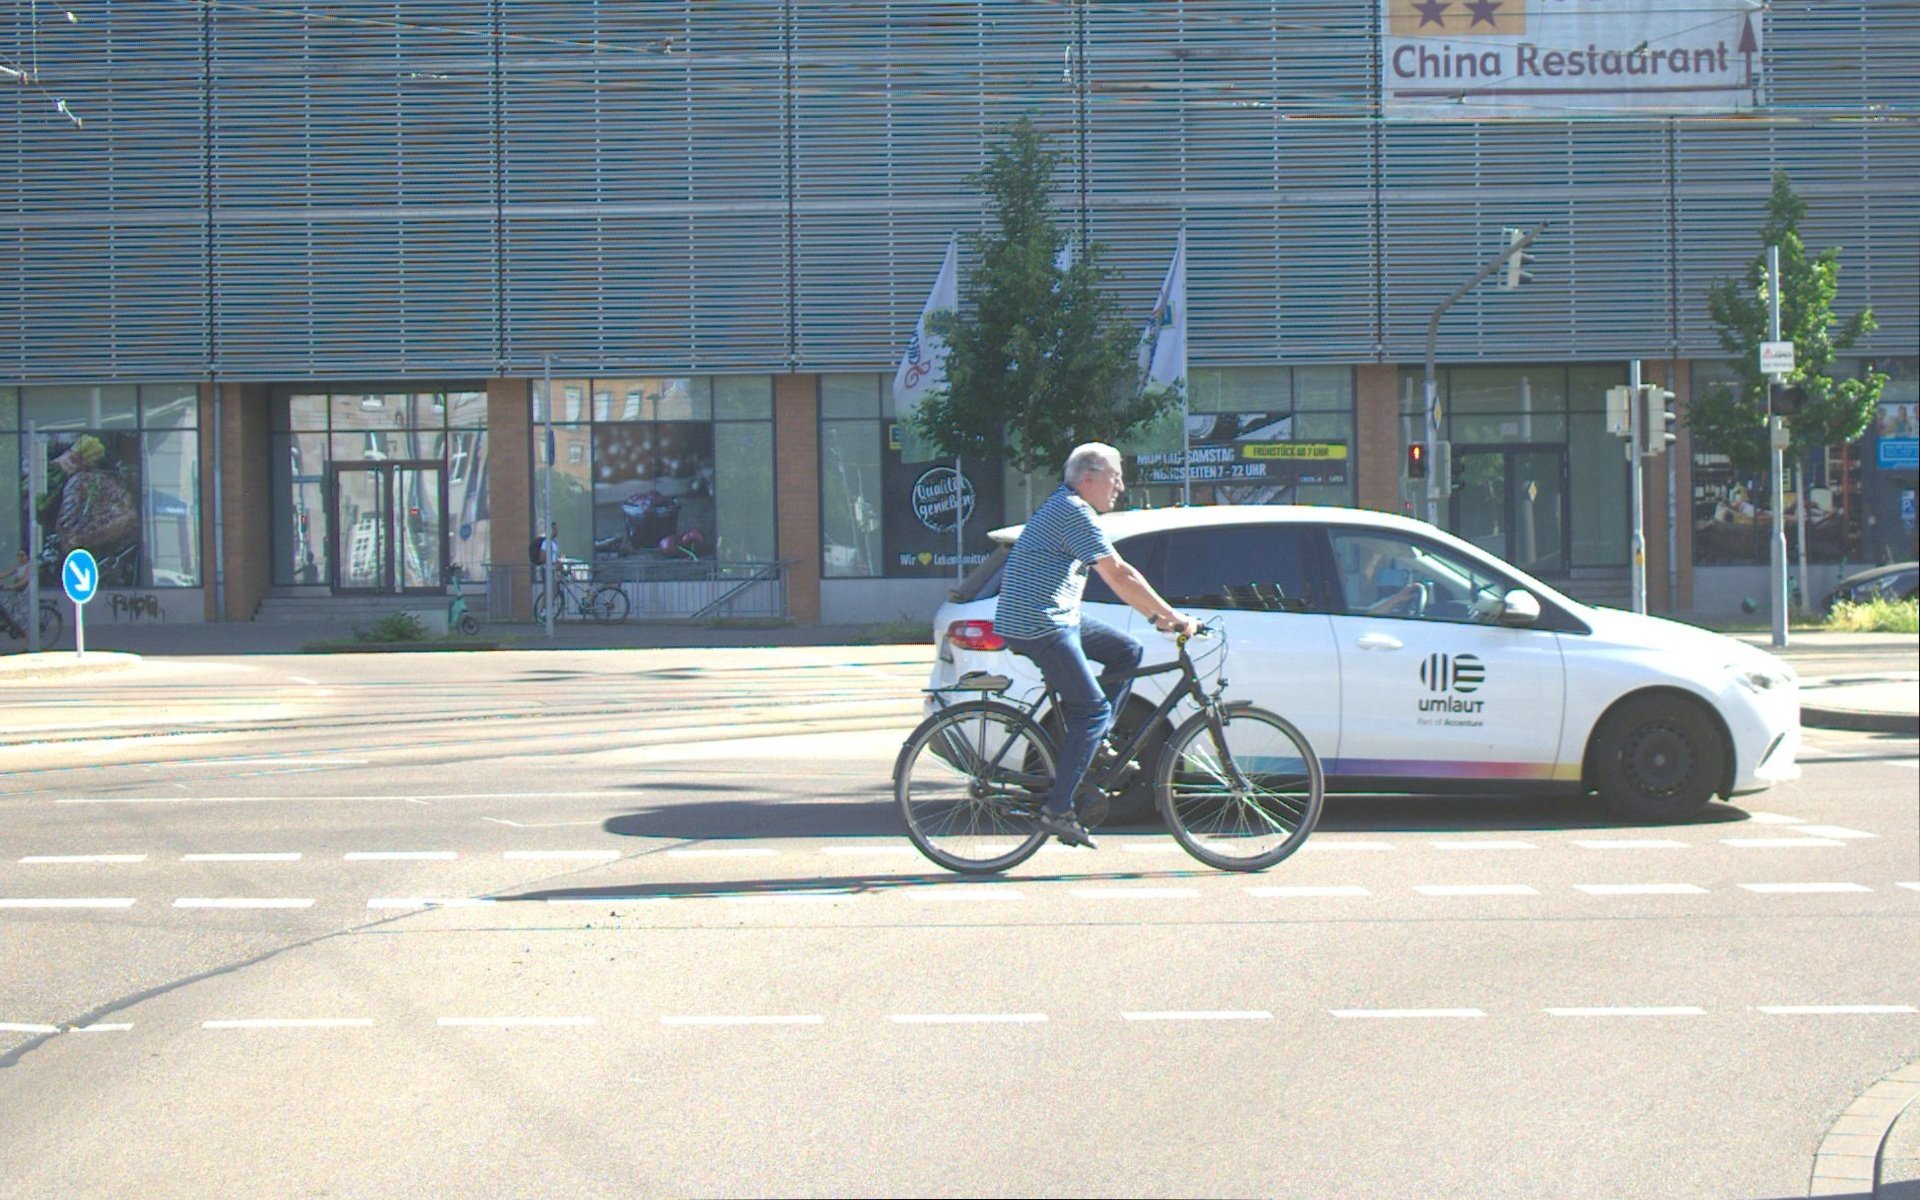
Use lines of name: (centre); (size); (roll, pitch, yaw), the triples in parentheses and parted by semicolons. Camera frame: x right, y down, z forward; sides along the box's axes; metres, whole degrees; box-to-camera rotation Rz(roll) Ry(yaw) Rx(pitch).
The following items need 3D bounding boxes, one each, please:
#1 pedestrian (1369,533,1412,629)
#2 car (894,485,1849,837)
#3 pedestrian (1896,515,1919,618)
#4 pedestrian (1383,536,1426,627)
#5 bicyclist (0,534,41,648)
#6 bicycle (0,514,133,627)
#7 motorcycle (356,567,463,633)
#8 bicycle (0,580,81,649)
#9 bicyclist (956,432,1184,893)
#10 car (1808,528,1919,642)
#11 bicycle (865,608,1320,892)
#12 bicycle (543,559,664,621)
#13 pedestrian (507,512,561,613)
pedestrian: (6.872, -0.307, 54.847); (0.589, 1.529, 0.658); (0, 1, -1)
car: (1.976, 0.253, 17.327); (4.488, 1.629, 1.840); (-1, 2, -5)
pedestrian: (16.410, -0.567, 58.174); (0.853, 1.732, 0.754); (-1, 1, -7)
pedestrian: (7.201, -0.306, 55.729); (0.589, 1.457, 0.658); (0, 1, -1)
bicyclist: (-15.267, -0.144, 54.870); (0.843, 1.797, 0.816); (-1, 1, -42)
bicycle: (-17.027, -0.545, 61.814); (3.987, 2.007, 1.330); (0, 1, 0)
motorcycle: (-8.991, 0.005, 56.154); (1.652, 1.055, 0.497); (0, 1, 9)
bicycle: (-15.299, 0.231, 54.820); (2.238, 1.067, 1.046); (-1, 1, -41)
bicyclist: (0.445, 0.247, 14.329); (0.902, 1.853, 0.854); (-1, 1, 0)
car: (13.771, -0.230, 45.942); (4.487, 1.489, 1.495); (-1, 1, 0)
bicycle: (0.536, 0.607, 14.313); (1.828, 1.112, 0.853); (-1, 1, 0)
bicycle: (-6.286, -0.184, 60.692); (2.026, 1.055, 1.145); (-1, 1, -1)
pedestrian: (-7.434, -0.656, 60.018); (0.848, 1.757, 0.620); (-1, 1, -1)
